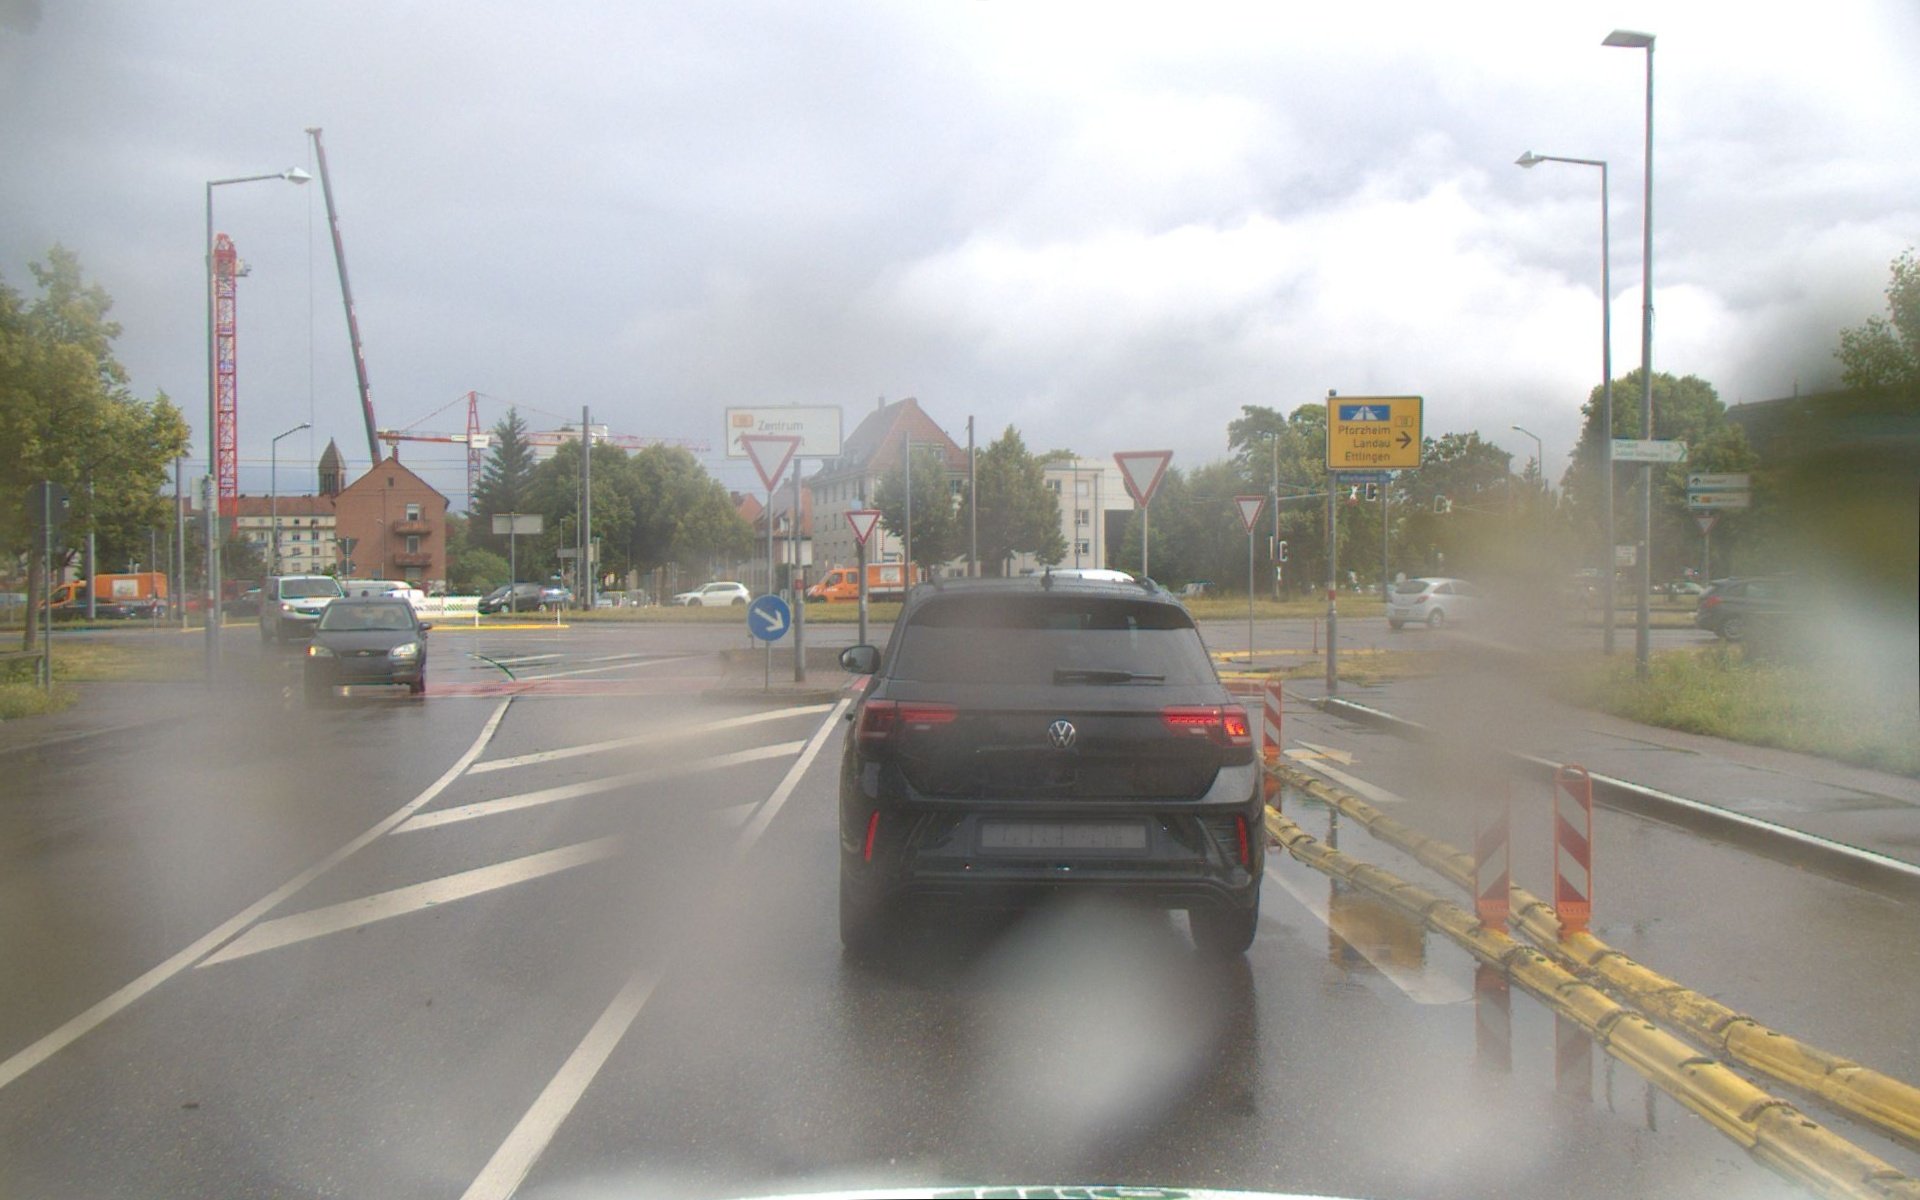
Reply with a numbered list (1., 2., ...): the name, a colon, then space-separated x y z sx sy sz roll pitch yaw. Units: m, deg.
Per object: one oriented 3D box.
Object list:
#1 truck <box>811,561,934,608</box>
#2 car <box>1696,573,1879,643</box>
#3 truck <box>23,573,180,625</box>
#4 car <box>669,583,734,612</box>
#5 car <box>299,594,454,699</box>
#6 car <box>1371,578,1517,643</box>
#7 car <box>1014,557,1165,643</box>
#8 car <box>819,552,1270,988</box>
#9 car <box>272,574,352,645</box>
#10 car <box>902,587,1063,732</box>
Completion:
1. truck: -5.123 -0.894 96.333 6.940 2.696 2.324 0 0 -11
2. car: 20.472 0.175 41.059 3.859 1.673 1.671 0 0 19
3. truck: -43.676 -0.065 84.309 6.580 2.485 2.428 -1 0 -10
4. car: -15.104 -0.159 96.479 3.456 1.612 1.552 0 1 -29
5. car: -9.216 0.695 26.437 1.842 1.508 4.164 -1 0 -13
6. car: 14.435 0.286 49.314 3.941 1.862 1.982 -1 0 -28
7. car: 3.047 -0.027 38.076 1.829 1.841 4.397 0 1 29
8. car: 0.213 0.625 7.983 1.674 1.601 3.680 0 0 -4
9. car: -18.732 0.253 47.683 1.864 1.909 5.092 -1 0 -25
10. car: 0.183 0.625 19.625 1.700 1.540 3.602 0 1 -3
